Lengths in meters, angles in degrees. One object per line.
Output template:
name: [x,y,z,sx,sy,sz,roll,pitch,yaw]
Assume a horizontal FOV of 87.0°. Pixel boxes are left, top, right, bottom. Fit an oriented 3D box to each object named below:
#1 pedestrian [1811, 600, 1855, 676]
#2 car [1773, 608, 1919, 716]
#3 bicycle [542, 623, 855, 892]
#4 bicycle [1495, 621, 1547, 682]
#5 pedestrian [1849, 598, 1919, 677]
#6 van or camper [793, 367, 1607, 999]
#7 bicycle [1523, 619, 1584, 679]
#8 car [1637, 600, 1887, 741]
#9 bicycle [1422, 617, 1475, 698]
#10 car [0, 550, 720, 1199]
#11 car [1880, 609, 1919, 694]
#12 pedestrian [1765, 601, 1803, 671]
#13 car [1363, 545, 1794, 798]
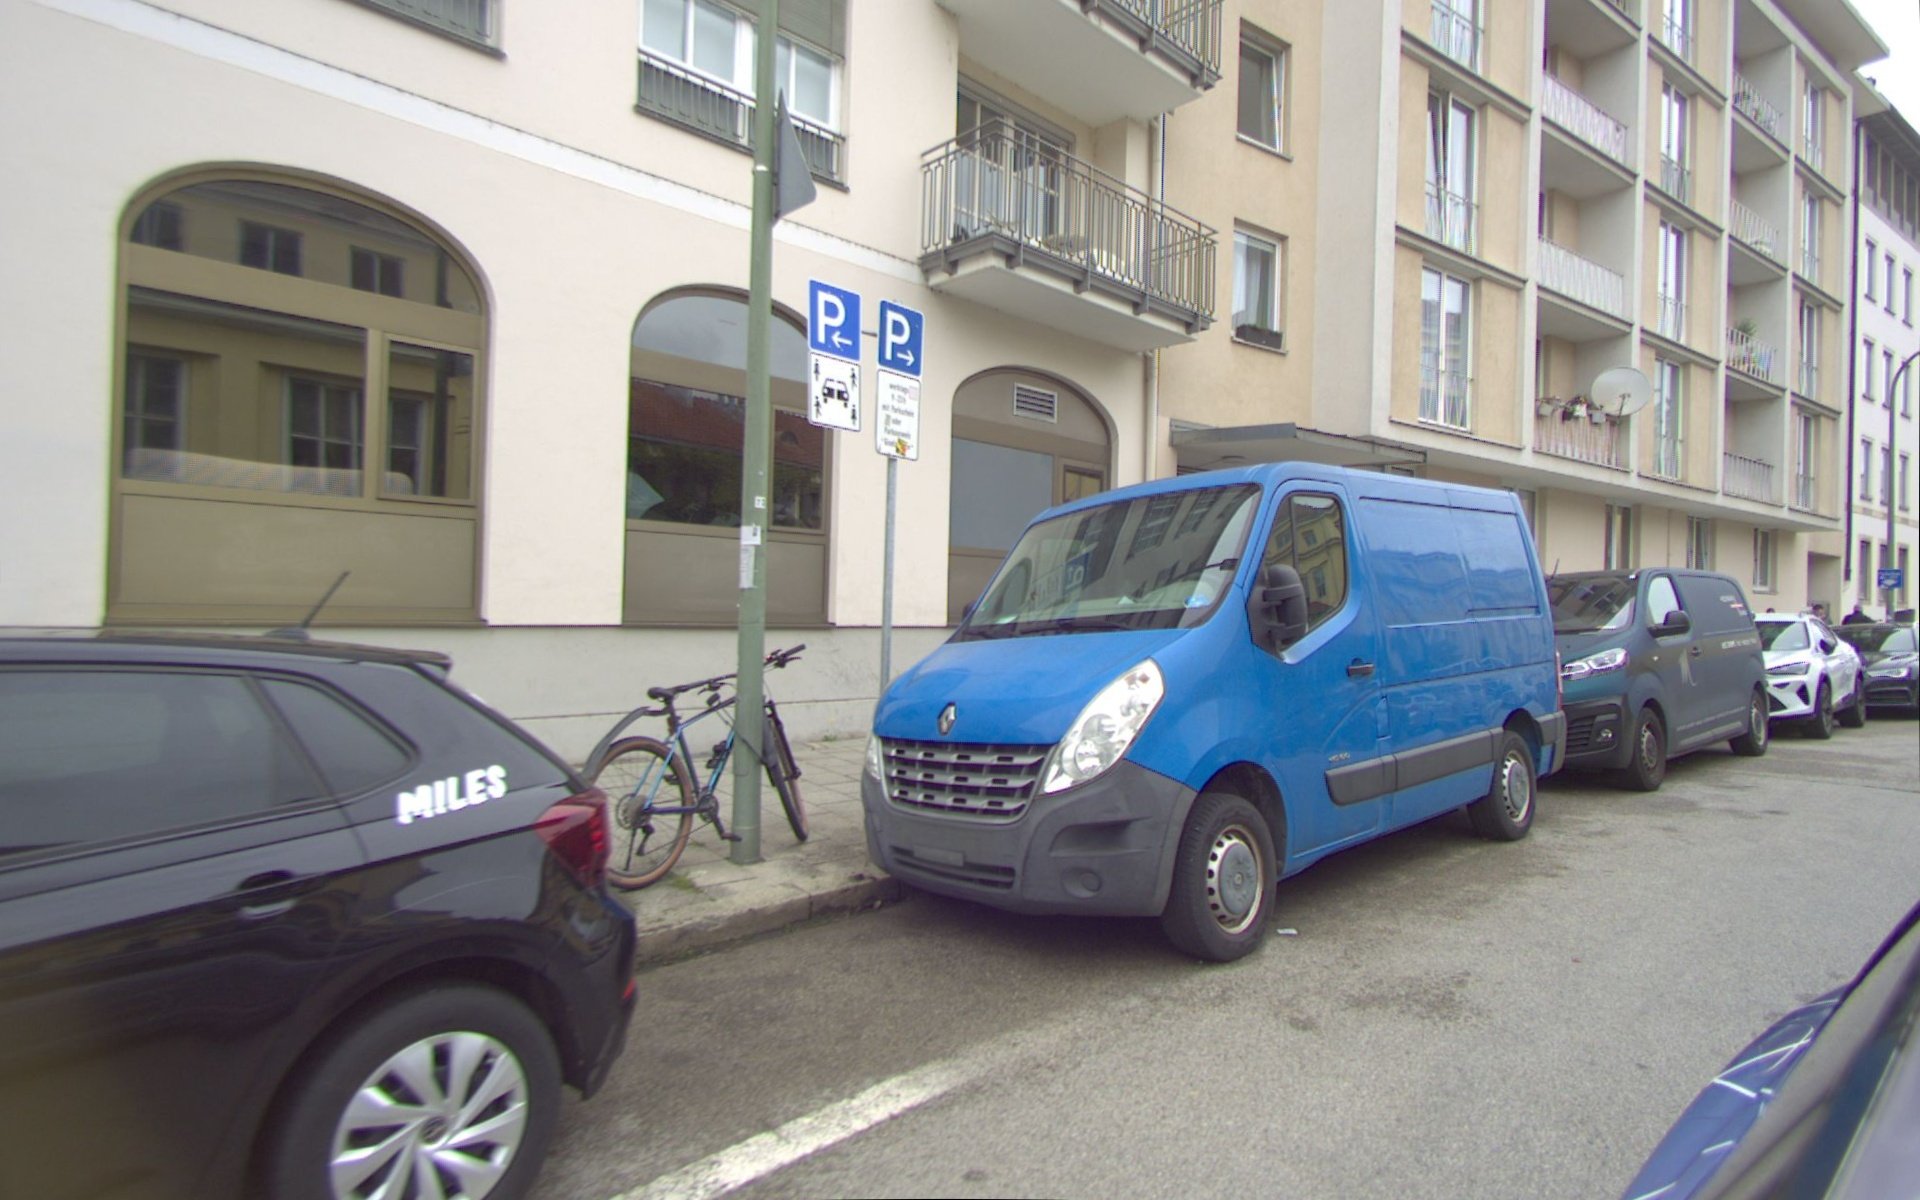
pedestrian: [19.721,0.842,22.853,0.618,1.675,0.598,1,0,-35]
car: [14.823,0.909,16.081,4.409,1.519,1.744,1,-2,-35]
bicycle: [-1.361,0.749,5.521,0.663,1.203,1.567,1,0,37]
bicycle: [9.876,0.894,17.805,0.982,1.036,0.375,1,1,-36]
pedestrian: [20.951,0.825,22.930,1.295,1.708,0.901,1,1,-36]
van or camper: [1.831,0.353,6.174,5.342,2.260,2.063,1,-3,-41]
bicycle: [10.850,0.885,18.495,1.374,1.036,0.391,1,1,-35]
car: [10.557,0.835,13.213,4.198,1.558,1.741,1,-3,-41]
bicycle: [7.562,0.868,15.699,0.527,1.147,1.400,2,1,19]
car: [-2.606,0.721,1.889,1.703,1.538,3.894,-4,-4,45]
car: [19.094,0.951,19.106,4.140,1.519,1.743,1,-2,-37]
pedestrian: [19.391,0.831,23.814,0.549,1.605,0.533,1,0,-35]
car: [6.067,0.572,9.676,4.846,1.840,1.968,1,-3,-39]
